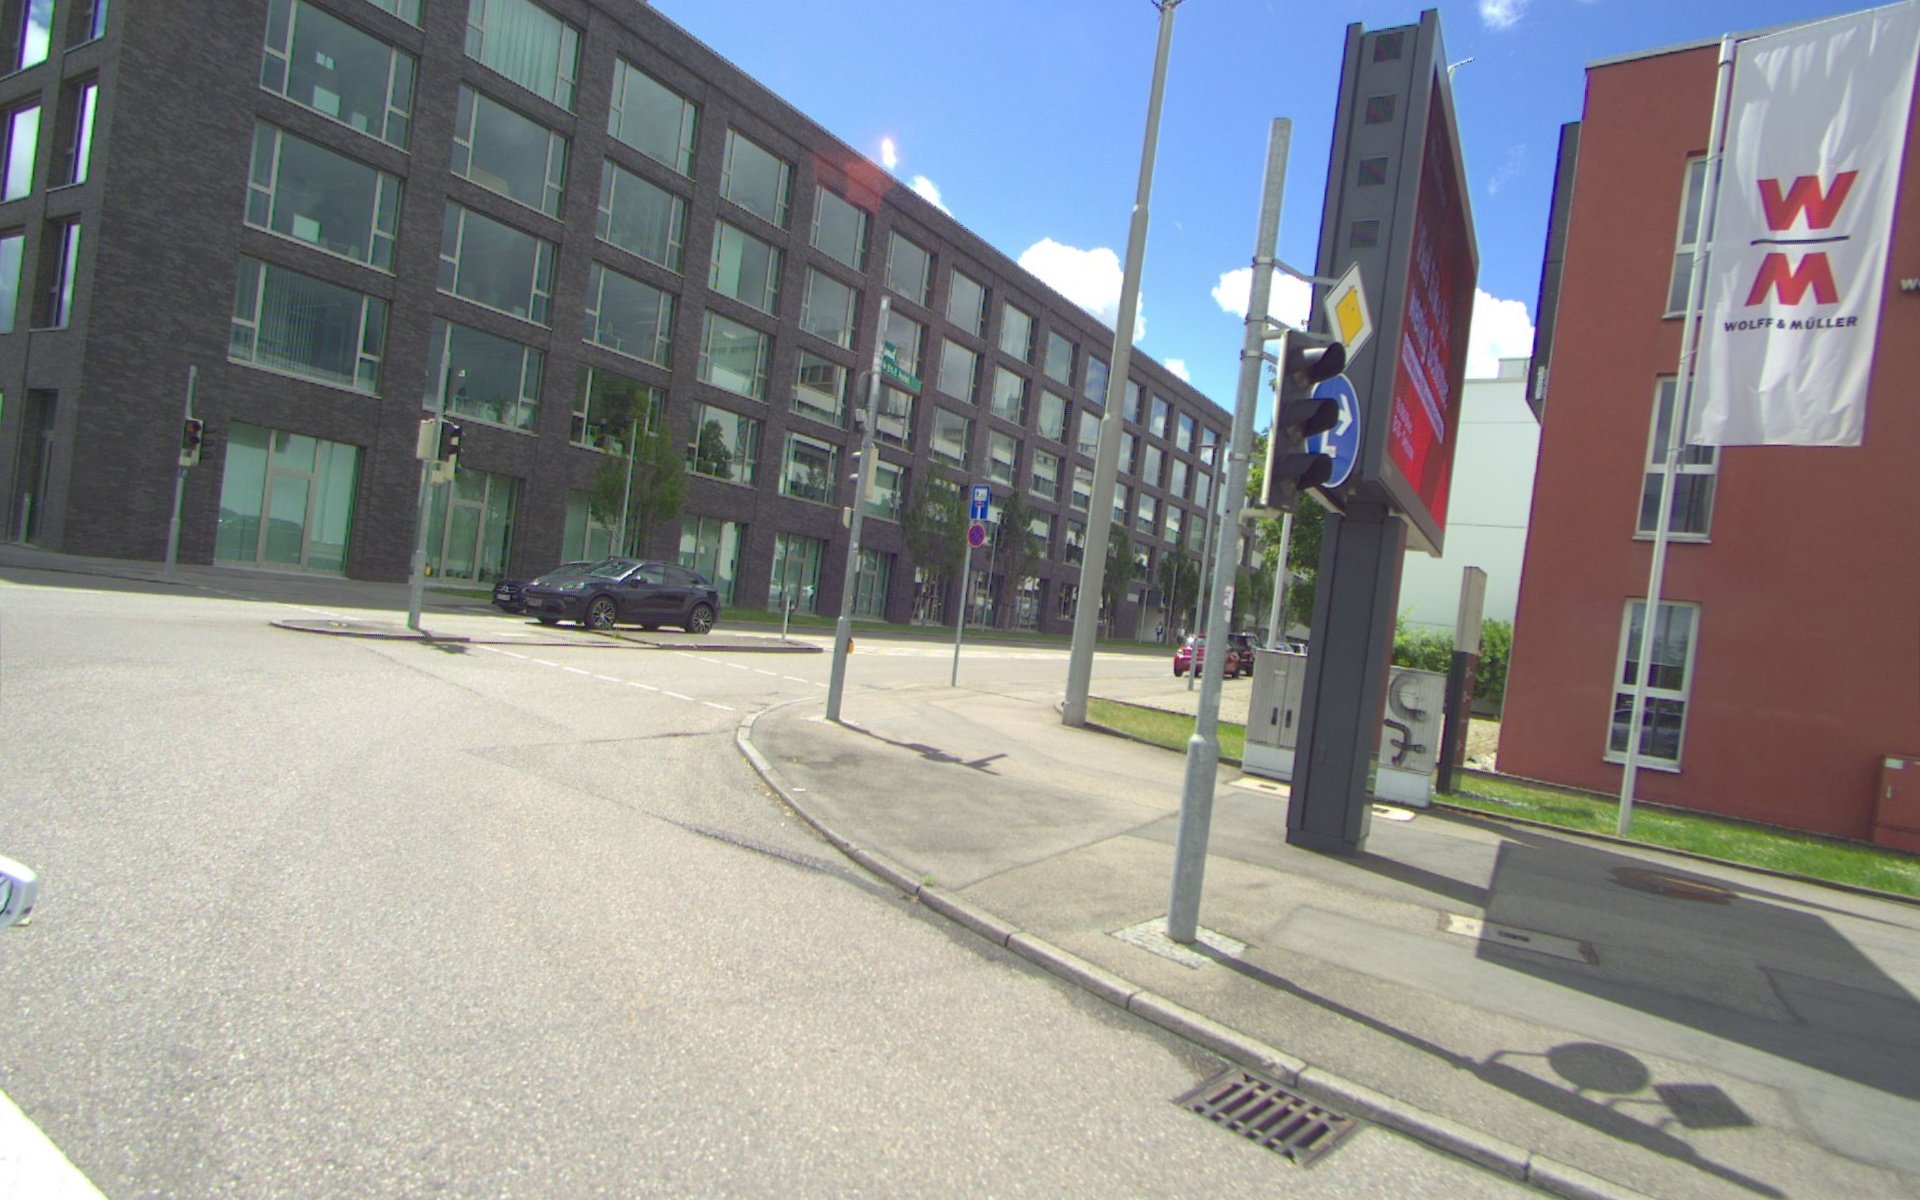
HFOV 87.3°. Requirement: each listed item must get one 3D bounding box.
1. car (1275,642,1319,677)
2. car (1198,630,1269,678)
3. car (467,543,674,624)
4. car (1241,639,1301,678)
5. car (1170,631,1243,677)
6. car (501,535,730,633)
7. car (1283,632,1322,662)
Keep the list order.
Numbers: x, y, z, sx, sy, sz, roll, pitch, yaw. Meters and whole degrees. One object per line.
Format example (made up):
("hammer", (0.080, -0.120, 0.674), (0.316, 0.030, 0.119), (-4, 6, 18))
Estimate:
("car", (17.053, 3.027, 50.806), (1.470, 1.478, 3.536), (7, -2, 27))
("car", (11.059, 2.198, 40.431), (1.838, 1.589, 4.309), (7, 0, 26))
("car", (-9.712, -0.354, 25.467), (1.967, 1.510, 4.530), (6, -1, 31))
("car", (14.107, 2.651, 45.457), (1.838, 1.479, 4.309), (6, -1, 26))
("car", (8.726, 1.925, 35.429), (1.716, 1.479, 3.677), (1, -3, 26))
("car", (-7.641, -0.292, 22.820), (1.966, 1.638, 4.646), (7, 0, 30))
("car", (18.944, 2.618, 55.580), (1.470, 1.355, 3.536), (7, -2, 27))
